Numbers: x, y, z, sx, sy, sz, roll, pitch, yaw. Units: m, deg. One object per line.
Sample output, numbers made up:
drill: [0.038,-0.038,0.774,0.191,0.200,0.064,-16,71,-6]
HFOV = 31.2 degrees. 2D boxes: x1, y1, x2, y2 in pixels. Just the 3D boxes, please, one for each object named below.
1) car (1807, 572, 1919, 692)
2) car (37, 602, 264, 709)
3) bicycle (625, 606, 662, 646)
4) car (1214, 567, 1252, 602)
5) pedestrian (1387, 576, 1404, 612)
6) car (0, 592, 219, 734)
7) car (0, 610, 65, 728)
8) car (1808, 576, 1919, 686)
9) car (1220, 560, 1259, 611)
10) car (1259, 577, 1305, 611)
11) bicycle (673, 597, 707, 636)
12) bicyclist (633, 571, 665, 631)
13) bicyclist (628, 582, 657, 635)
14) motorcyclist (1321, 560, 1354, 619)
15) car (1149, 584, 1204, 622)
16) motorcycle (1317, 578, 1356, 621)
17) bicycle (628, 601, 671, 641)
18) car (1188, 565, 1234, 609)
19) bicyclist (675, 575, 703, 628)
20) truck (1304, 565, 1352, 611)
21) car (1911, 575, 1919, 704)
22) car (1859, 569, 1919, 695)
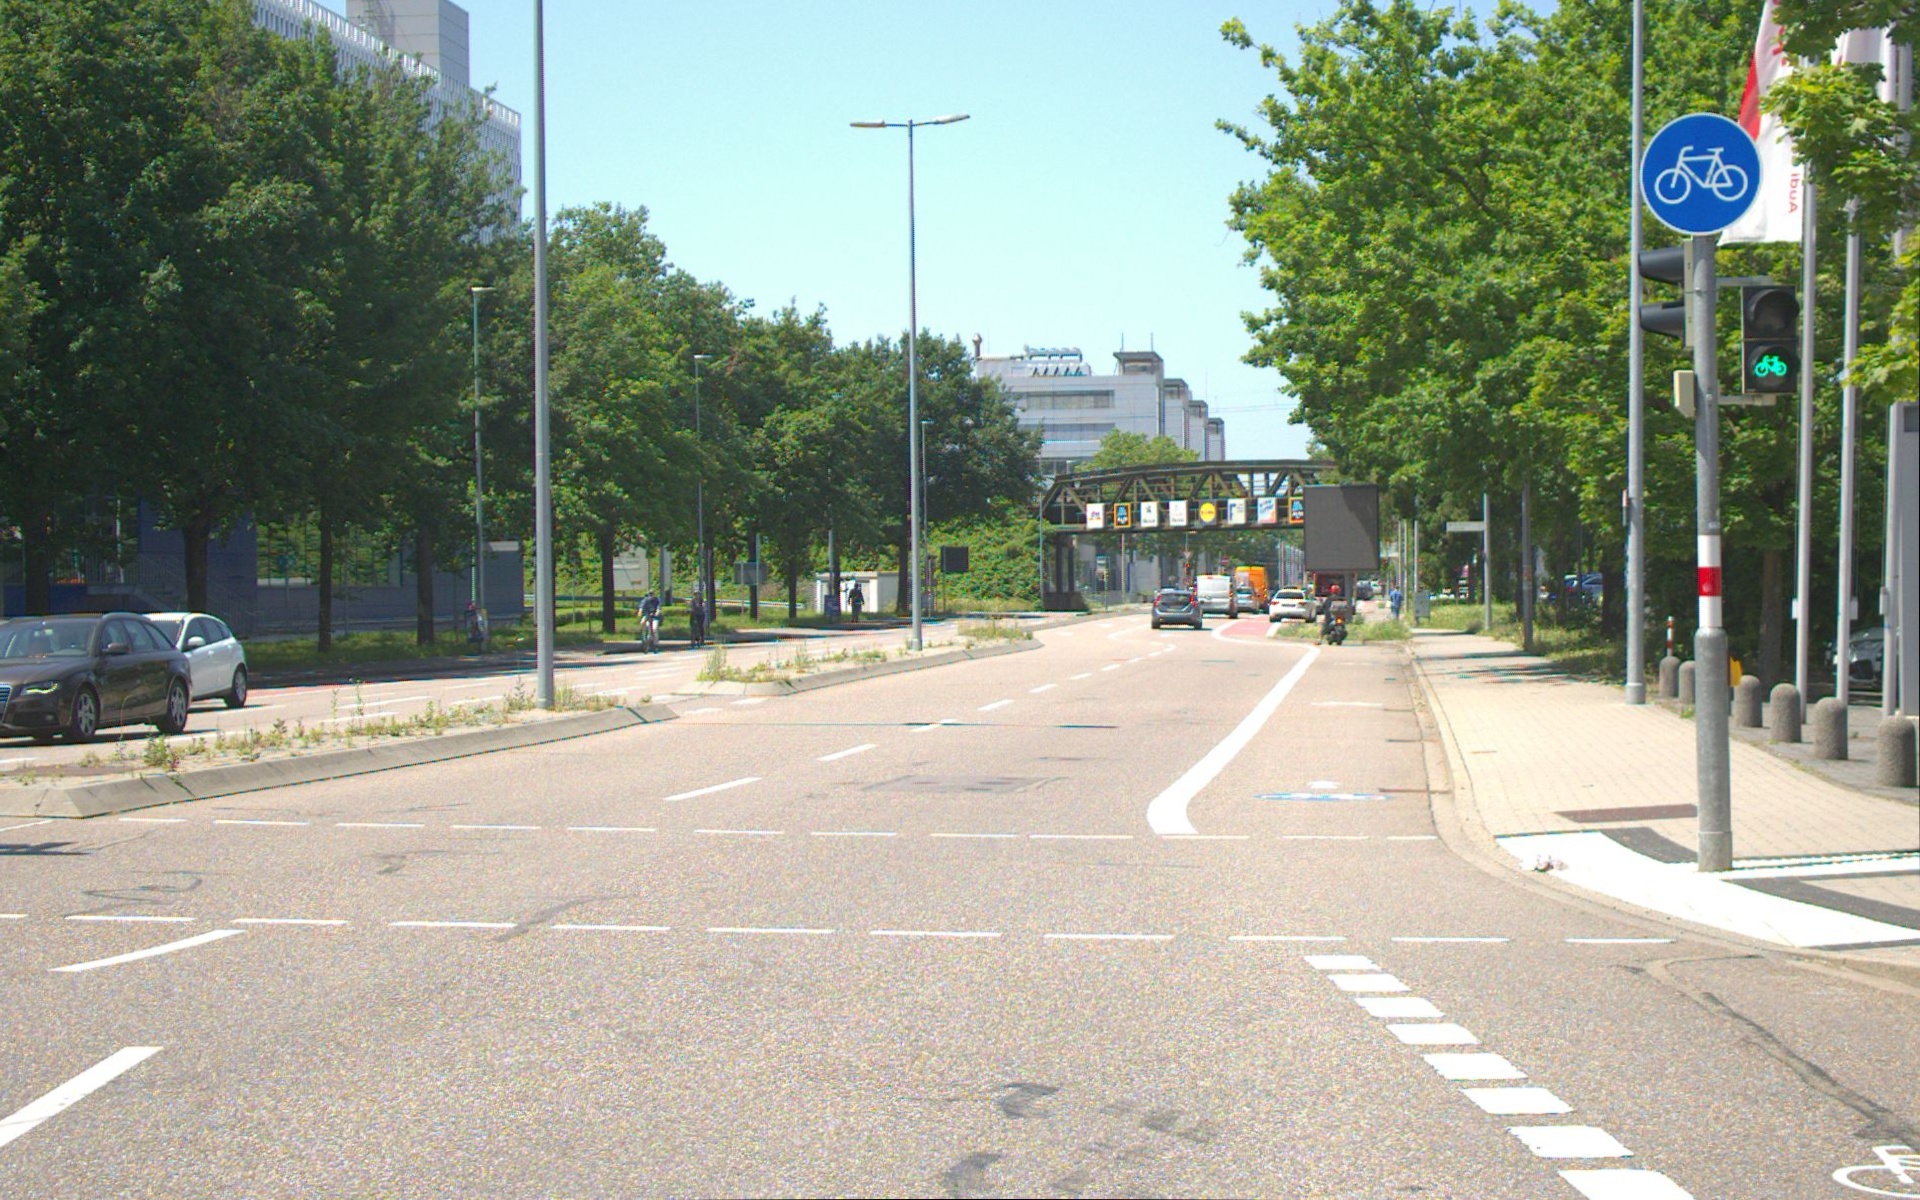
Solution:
car: [12.750,0.439,43.562,3.682,1.448,1.833,2,0,7]
car: [-11.770,0.784,50.293,1.727,1.441,4.450,-2,0,8]
bicycle: [-9.369,0.766,101.781,0.637,1.130,1.970,0,0,8]
car: [14.790,-0.850,185.986,1.895,1.809,3.999,0,1,6]
pedestrian: [16.717,-0.224,132.020,0.624,1.370,0.564,0,0,5]
car: [-9.895,0.672,37.845,1.727,1.441,4.718,-2,0,9]
car: [-12.699,0.893,42.228,1.746,1.417,4.622,-2,0,6]
car: [13.690,0.457,46.165,4.233,1.397,1.816,2,1,7]
car: [16.207,-0.853,199.349,2.073,2.845,6.763,-1,0,6]
car: [13.890,-0.263,148.354,1.924,1.415,3.999,0,0,6]
bicycle: [-8.391,0.510,106.810,0.629,1.155,2.117,-2,0,6]
bicyclist: [-8.908,0.024,98.500,0.745,1.680,0.952,0,0,6]
bicyclist: [-9.391,0.253,101.723,0.637,1.577,0.884,0,0,8]
motorcyclist: [9.864,-0.276,89.856,0.719,1.524,0.871,1,0,-3]
car: [8.202,0.104,130.219,1.901,1.371,4.230,-1,0,6]
motorcycle: [9.843,-0.023,89.867,0.716,1.101,1.830,1,0,-3]
bicycle: [-8.895,0.594,98.565,0.739,1.121,2.434,0,0,6]
car: [11.702,-0.607,159.818,1.994,2.007,3.999,-1,0,6]
bicyclist: [-8.416,0.043,106.752,0.634,1.623,1.044,-2,0,6]
truck: [20.113,-0.692,187.684,2.459,2.402,7.132,1,1,7]
car: [12.788,0.521,38.012,4.102,1.448,1.868,2,0,7]
car: [12.723,0.425,40.864,3.682,1.448,1.833,2,0,7]
